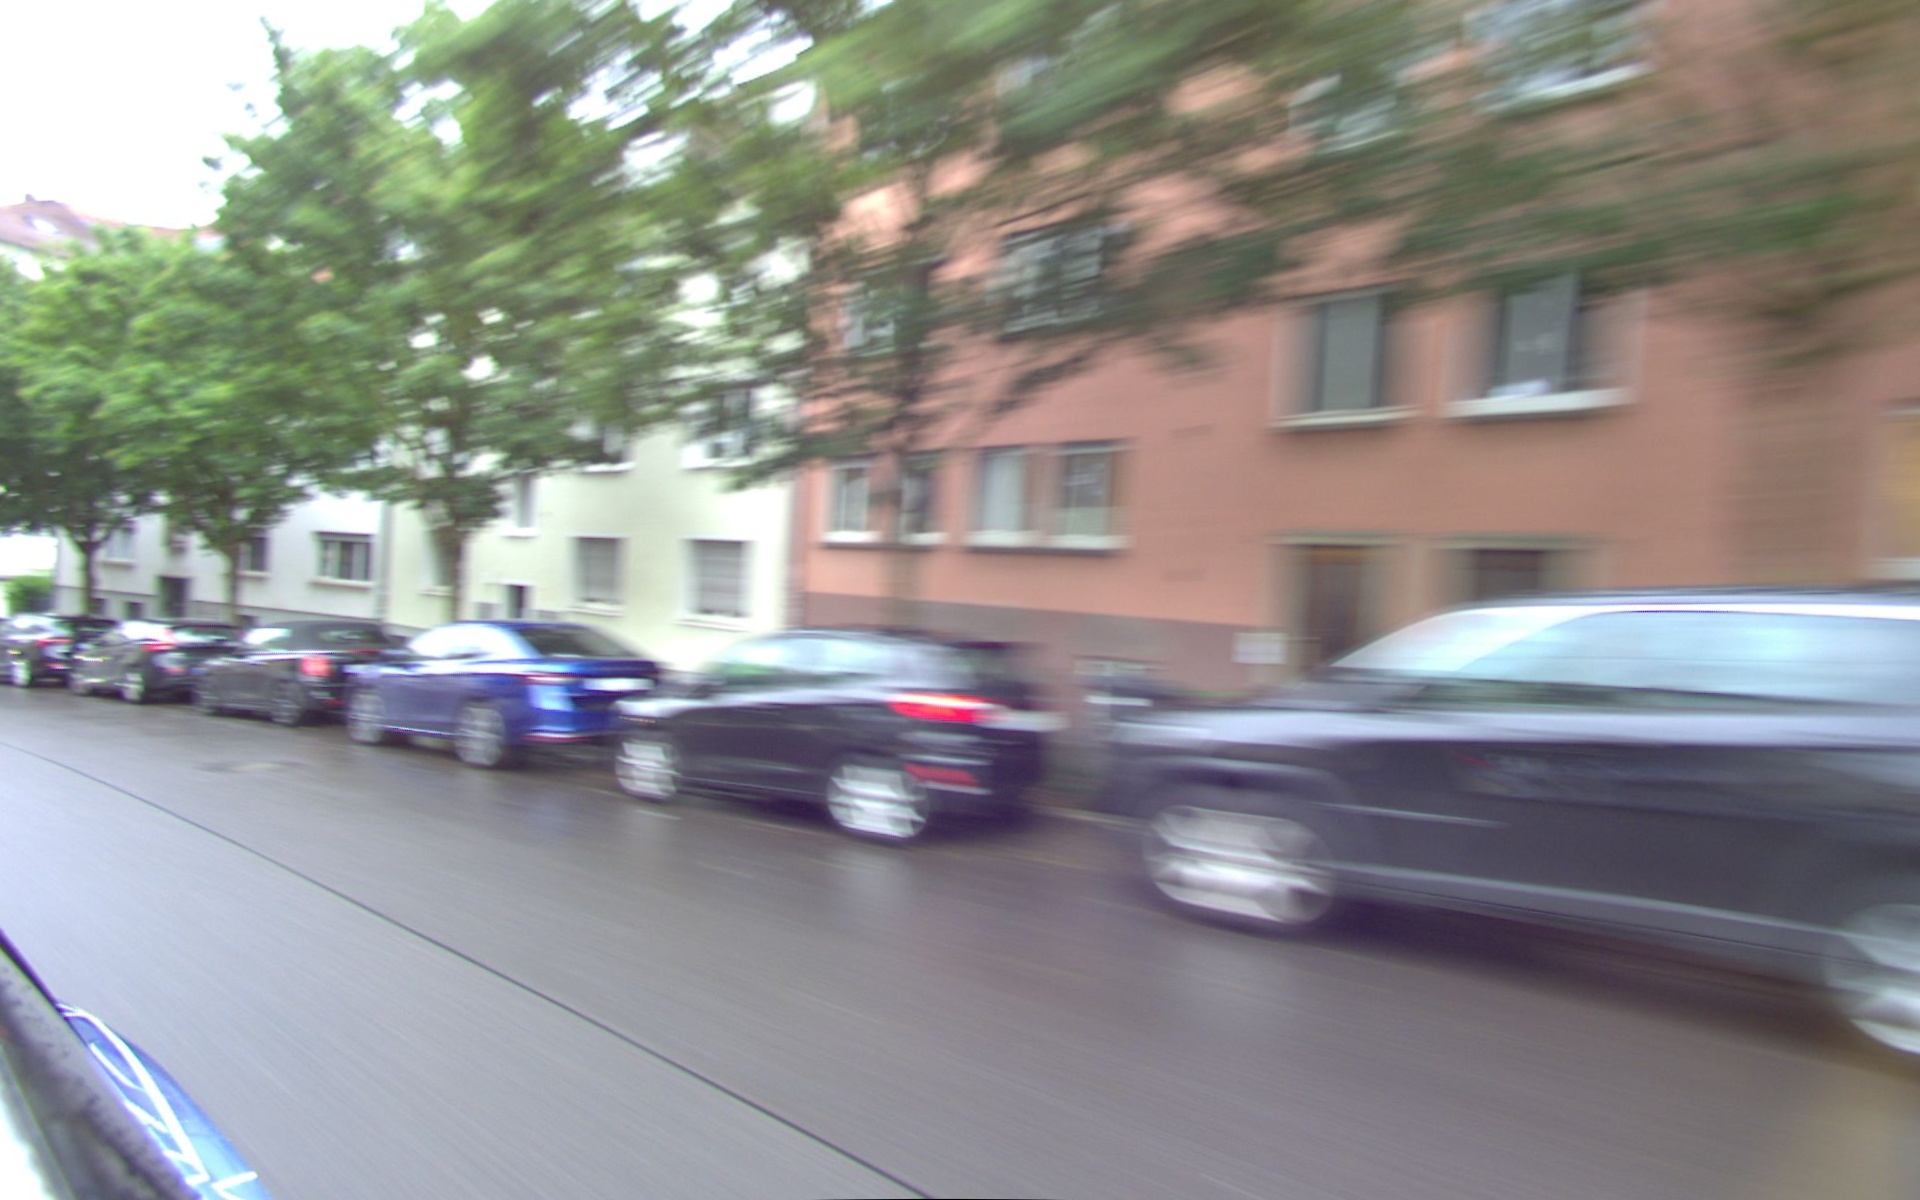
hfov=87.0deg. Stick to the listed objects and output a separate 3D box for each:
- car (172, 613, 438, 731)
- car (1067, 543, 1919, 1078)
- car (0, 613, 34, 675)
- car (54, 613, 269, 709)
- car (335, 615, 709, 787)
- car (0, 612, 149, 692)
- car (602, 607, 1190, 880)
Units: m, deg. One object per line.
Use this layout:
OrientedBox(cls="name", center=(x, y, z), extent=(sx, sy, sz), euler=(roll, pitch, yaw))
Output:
OrientedBox(cls="car", center=(-9.719, 0.960, 14.915), extent=(4.351, 1.504, 1.772), euler=(-1, -2, 35))
OrientedBox(cls="car", center=(2.812, 0.681, 4.451), extent=(4.478, 1.653, 1.768), euler=(-1, -2, 41))
OrientedBox(cls="car", center=(-23.907, 1.010, 23.872), extent=(4.023, 1.420, 1.578), euler=(0, -2, 24))
OrientedBox(cls="car", center=(-14.270, 0.982, 18.007), extent=(4.634, 1.504, 1.772), euler=(0, -1, 35))
OrientedBox(cls="car", center=(-4.967, 0.931, 11.108), extent=(4.858, 1.504, 1.769), euler=(-1, -2, 40))
OrientedBox(cls="car", center=(-18.873, 1.025, 20.922), extent=(4.481, 1.504, 1.774), euler=(0, -3, 30))
OrientedBox(cls="car", center=(-0.657, 0.834, 7.628), extent=(4.355, 1.504, 1.770), euler=(-1, -2, 38))
